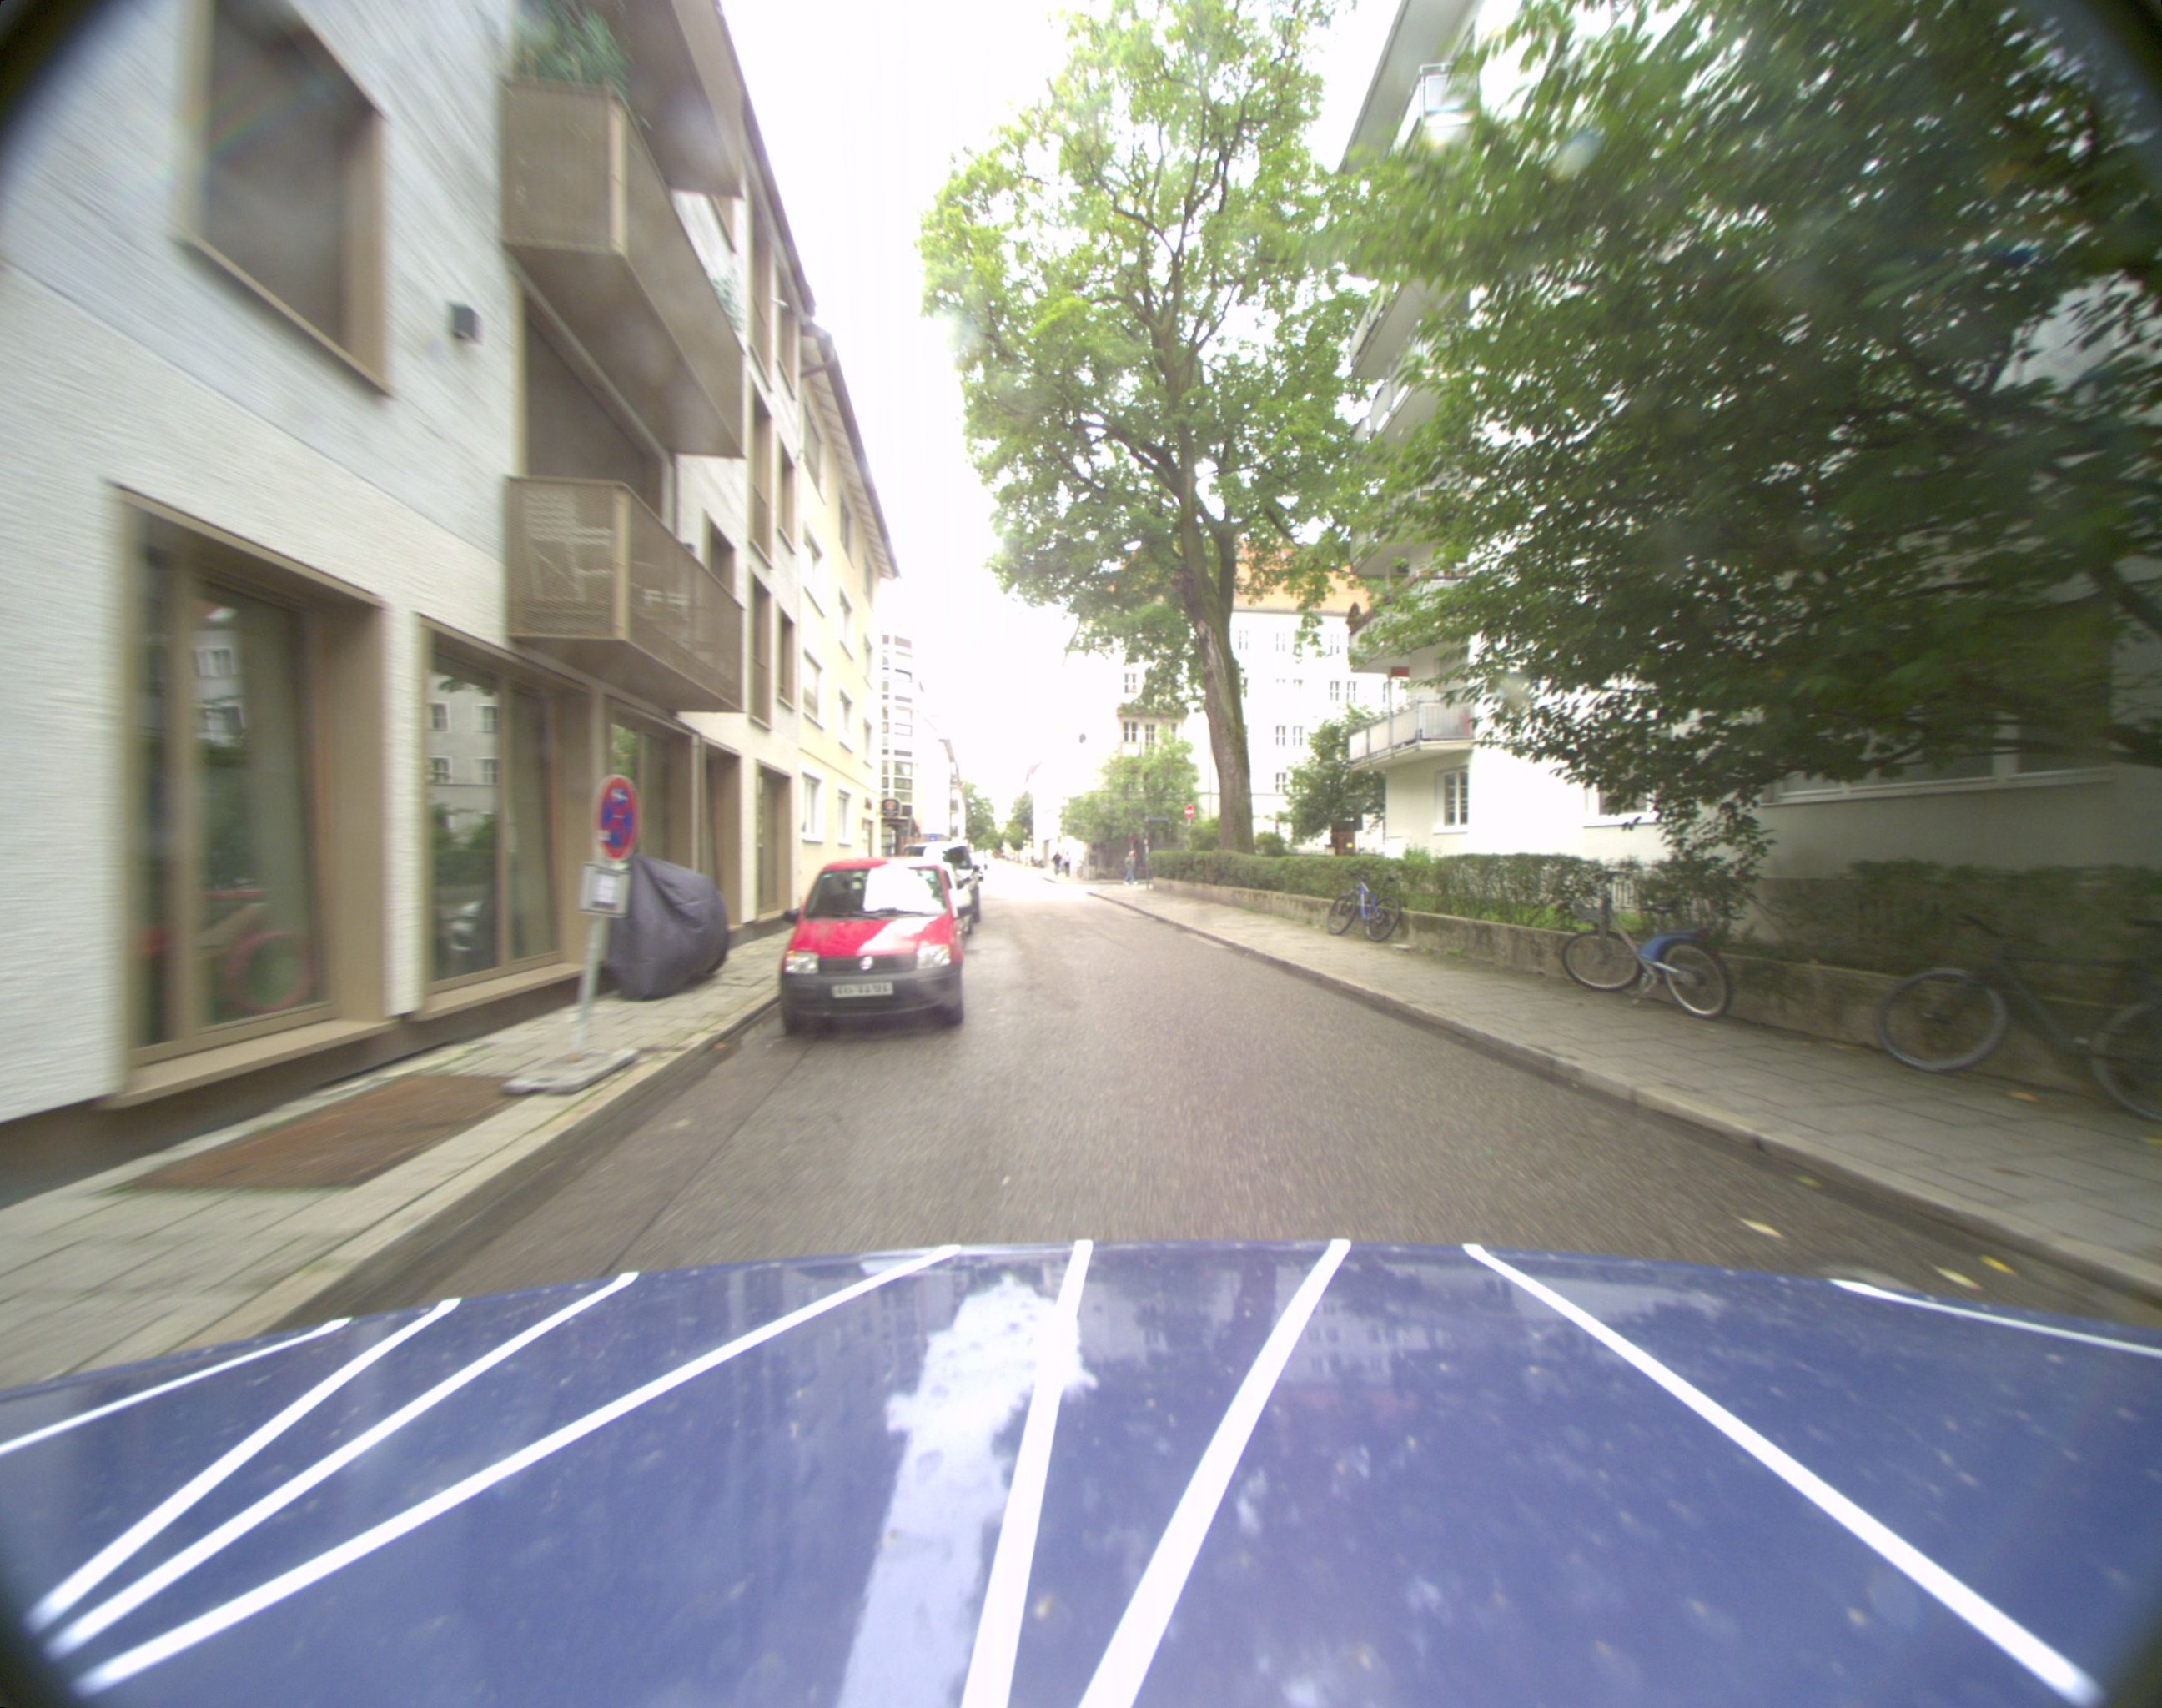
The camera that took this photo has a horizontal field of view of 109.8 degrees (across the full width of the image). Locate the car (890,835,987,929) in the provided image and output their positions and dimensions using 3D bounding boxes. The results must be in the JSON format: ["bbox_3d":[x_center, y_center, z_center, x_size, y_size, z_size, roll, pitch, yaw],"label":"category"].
[{"bbox_3d":[-3.470,0.589,18.877,1.997,1.965,4.880,-2,0,-9],"label":"car"}]

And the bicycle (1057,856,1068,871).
[{"bbox_3d":[-1.442,0.718,59.886,0.450,1.187,1.497,-1,1,-16],"label":"bicycle"}]

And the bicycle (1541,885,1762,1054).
[{"bbox_3d":[4.812,0.904,6.560,0.490,1.145,1.697,-3,2,-5],"label":"bicycle"}]

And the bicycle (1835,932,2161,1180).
[{"bbox_3d":[5.222,1.024,4.130,0.437,0.973,1.697,-3,2,-5],"label":"bicycle"}]

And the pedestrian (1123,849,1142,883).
[{"bbox_3d":[2.554,0.591,37.548,0.692,1.668,0.858,-2,1,-9],"label":"pedestrian"}]

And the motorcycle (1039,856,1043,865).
[{"bbox_3d":[-4.388,0.706,83.117,0.324,0.968,1.959,-1,0,-7],"label":"motorcycle"}]

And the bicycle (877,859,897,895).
[{"bbox_3d":[-7.035,0.816,27.563,0.411,1.207,1.817,2,1,-7],"label":"bicycle"}]

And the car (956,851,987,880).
[{"bbox_3d":[-6.574,0.635,45.660,1.726,1.606,4.451,-1,0,-9],"label":"car"}]

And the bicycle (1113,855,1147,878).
[{"bbox_3d":[2.699,0.669,42.090,1.812,1.253,0.431,0,1,-8],"label":"bicycle"}]

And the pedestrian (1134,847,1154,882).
[{"bbox_3d":[3.172,0.517,38.294,0.692,1.753,0.741,-3,1,-17],"label":"pedestrian"}]

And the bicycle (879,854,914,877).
[{"bbox_3d":[-10.082,0.629,41.476,1.872,1.222,0.594,1,2,22],"label":"bicycle"}]

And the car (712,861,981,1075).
[{"bbox_3d":[-2.048,0.880,7.841,1.777,1.515,4.064,-2,0,-5],"label":"car"}]

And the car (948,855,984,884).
[{"bbox_3d":[-6.056,0.769,40.118,1.726,1.427,4.355,-1,0,-9],"label":"car"}]

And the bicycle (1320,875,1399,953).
[{"bbox_3d":[4.355,0.897,11.998,0.348,1.066,1.779,-4,1,-7],"label":"bicycle"}]

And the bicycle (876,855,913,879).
[{"bbox_3d":[-9.682,0.664,39.401,1.753,1.180,0.442,2,1,-1],"label":"bicycle"}]

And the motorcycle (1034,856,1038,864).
[{"bbox_3d":[-5.517,0.738,92.640,0.324,0.968,1.959,-1,0,-7],"label":"motorcycle"}]

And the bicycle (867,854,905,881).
[{"bbox_3d":[-9.914,0.686,38.656,1.808,1.315,0.586,0,2,-32],"label":"bicycle"}]

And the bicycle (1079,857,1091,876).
[{"bbox_3d":[0.232,0.765,45.734,0.432,1.089,1.702,-2,1,-9],"label":"bicycle"}]

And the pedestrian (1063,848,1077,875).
[{"bbox_3d":[-0.713,0.466,49.637,0.695,1.718,0.840,-4,1,-7],"label":"pedestrian"}]

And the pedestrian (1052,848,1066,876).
[{"bbox_3d":[-1.465,0.522,49.560,0.722,1.718,0.840,-4,1,-7],"label":"pedestrian"}]

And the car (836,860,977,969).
[{"bbox_3d":[-2.807,0.893,13.152,1.773,1.453,4.377,-2,0,-5],"label":"car"}]

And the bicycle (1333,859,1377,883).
[{"bbox_3d":[12.043,0.752,33.400,1.777,1.065,0.348,-1,0,13],"label":"bicycle"}]

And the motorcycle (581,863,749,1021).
[{"bbox_3d":[-4.277,0.834,8.012,0.807,1.415,1.931,3,0,-6],"label":"motorcycle"}]

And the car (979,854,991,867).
[{"bbox_3d":[-10.052,0.709,79.408,1.191,1.312,2.778,-1,0,-7],"label":"car"}]
